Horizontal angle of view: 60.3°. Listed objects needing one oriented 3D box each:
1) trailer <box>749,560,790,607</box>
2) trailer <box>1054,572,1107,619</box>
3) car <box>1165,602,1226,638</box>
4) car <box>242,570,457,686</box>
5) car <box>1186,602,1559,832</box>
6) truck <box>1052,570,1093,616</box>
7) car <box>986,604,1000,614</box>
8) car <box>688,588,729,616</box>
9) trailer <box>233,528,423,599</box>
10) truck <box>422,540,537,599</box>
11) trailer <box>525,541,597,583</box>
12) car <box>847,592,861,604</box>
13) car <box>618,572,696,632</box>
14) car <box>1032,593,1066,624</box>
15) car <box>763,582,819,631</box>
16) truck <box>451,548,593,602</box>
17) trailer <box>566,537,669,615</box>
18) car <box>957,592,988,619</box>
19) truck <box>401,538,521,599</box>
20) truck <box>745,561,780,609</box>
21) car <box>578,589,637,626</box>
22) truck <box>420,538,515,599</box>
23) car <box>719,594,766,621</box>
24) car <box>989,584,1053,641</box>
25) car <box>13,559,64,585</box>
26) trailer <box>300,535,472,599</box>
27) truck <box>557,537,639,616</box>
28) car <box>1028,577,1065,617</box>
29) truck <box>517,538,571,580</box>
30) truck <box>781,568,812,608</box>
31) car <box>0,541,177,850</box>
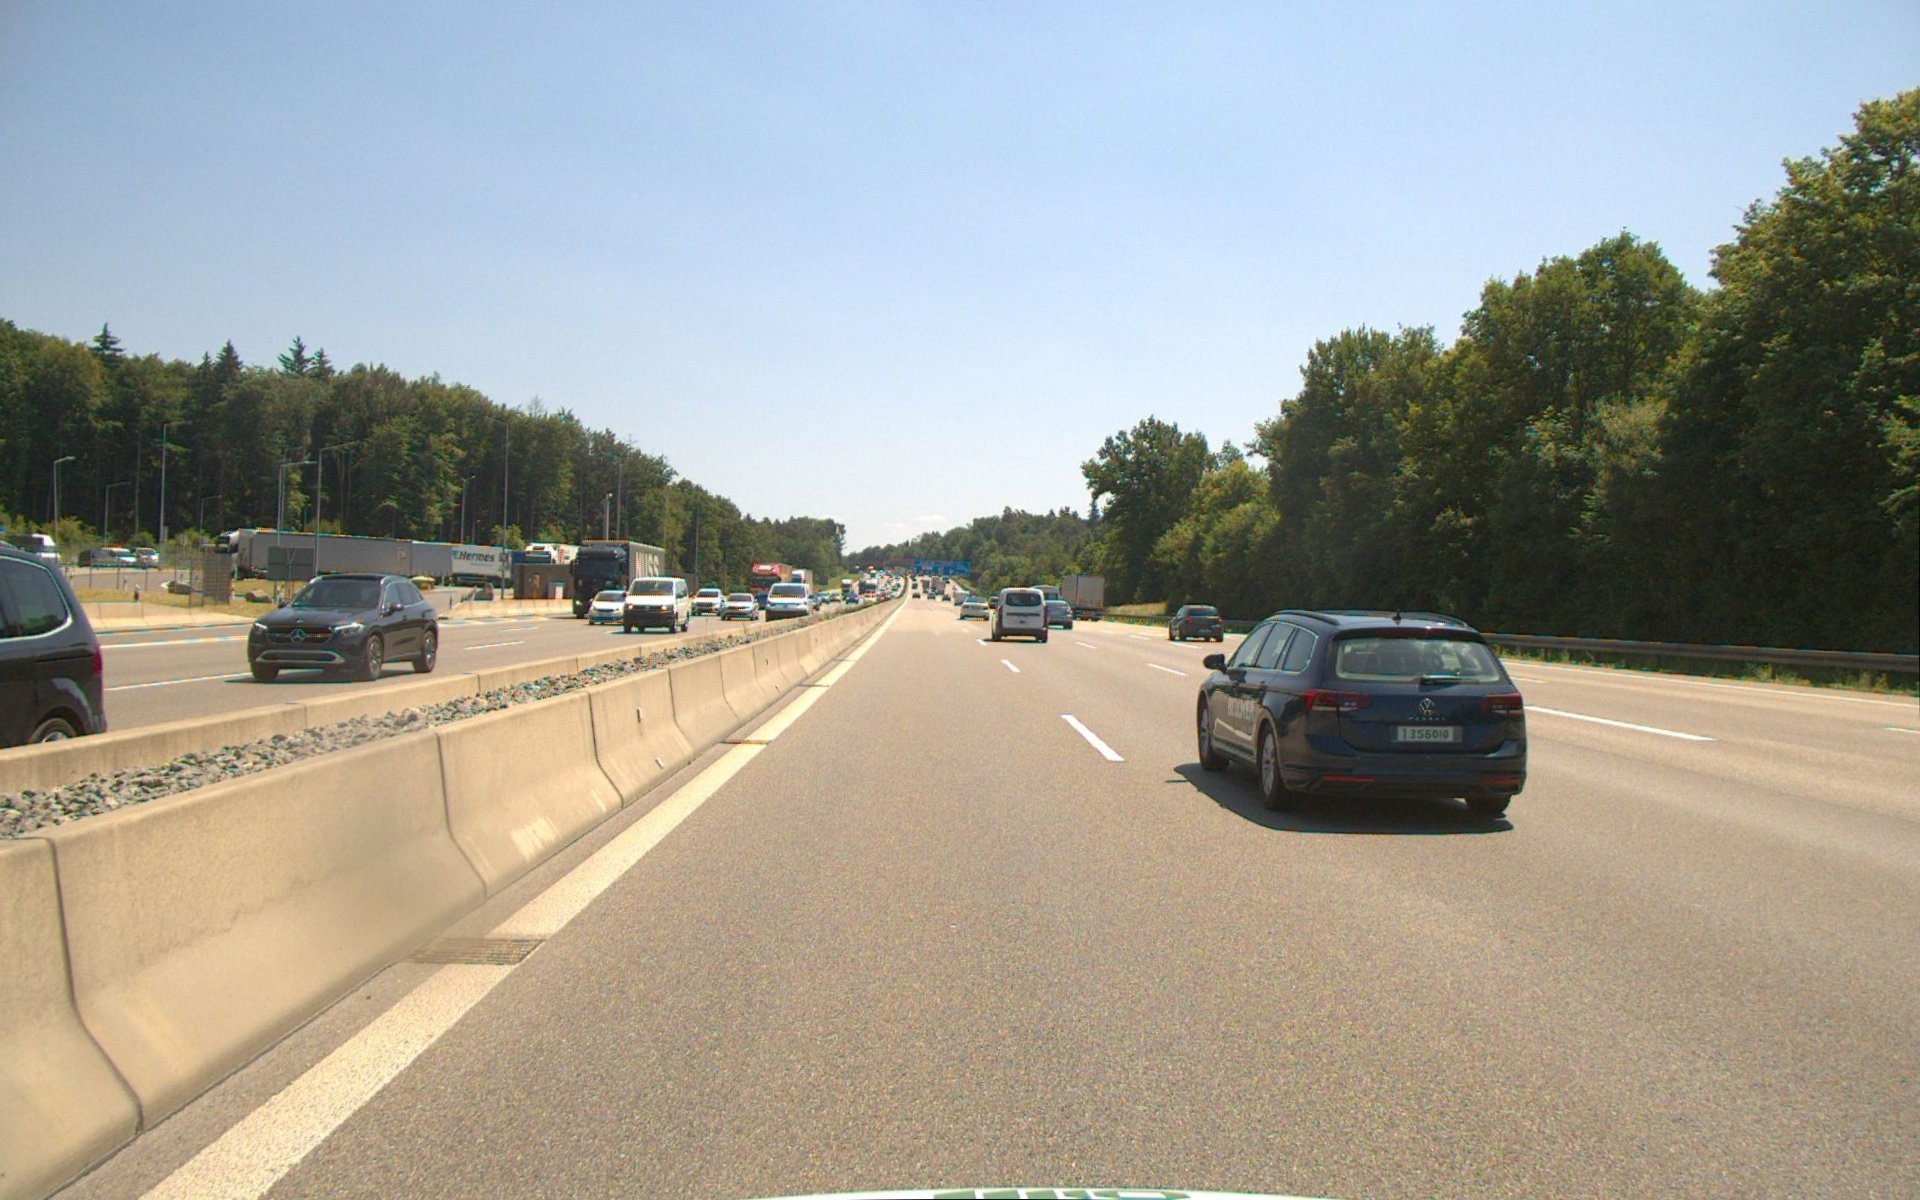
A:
[{"bbox_3d":[-17.707,-1.446,154.219,2.519,4.120,14.177,1,0,-2],"label":"trailer"},{"bbox_3d":[11.177,-0.521,155.256,3.222,3.998,13.885,4,1,-2],"label":"trailer"},{"bbox_3d":[9.316,0.784,65.827,1.637,1.296,4.288,3,0,-2],"label":"car"},{"bbox_3d":[-10.032,0.414,27.623,1.790,1.728,5.002,1,0,-1],"label":"car"},{"bbox_3d":[3.069,0.780,13.417,1.694,1.472,4.960,1,0,-1],"label":"car"},{"bbox_3d":[10.925,-0.699,161.542,3.189,4.177,5.986,3,1,-2],"label":"truck"},{"bbox_3d":[4.687,1.247,233.474,1.798,1.361,3.642,1,0,-2],"label":"car"},{"bbox_3d":[-15.757,0.114,103.850,1.953,1.699,4.611,1,0,-2],"label":"car"},{"bbox_3d":[-51.071,-2.851,134.293,3.075,5.161,14.474,2,0,42],"label":"trailer"},{"bbox_3d":[-49.789,-3.068,171.690,3.172,5.711,11.465,2,0,42],"label":"truck"},{"bbox_3d":[-33.821,-3.127,140.903,2.912,3.178,14.604,2,0,-2],"label":"trailer"},{"bbox_3d":[-16.322,-0.334,255.606,1.953,1.805,5.921,2,0,-2],"label":"car"},{"bbox_3d":[-11.005,0.076,60.445,1.953,2.049,5.128,1,0,-1],"label":"car"},{"bbox_3d":[4.620,0.442,86.041,1.473,1.527,3.648,1,0,-2],"label":"car"},{"bbox_3d":[-7.514,0.286,73.928,2.035,2.079,5.709,1,0,-2],"label":"car"},{"bbox_3d":[-50.425,-2.798,191.347,3.391,5.711,16.602,2,0,43],"label":"truck"},{"bbox_3d":[-19.406,-1.276,94.752,3.275,4.071,14.274,1,0,-2],"label":"trailer"},{"bbox_3d":[0.793,0.358,106.528,1.806,1.657,4.552,1,0,-1],"label":"car"},{"bbox_3d":[-50.037,-3.079,166.171,3.172,5.711,11.465,2,0,42],"label":"truck"},{"bbox_3d":[-17.531,-1.333,147.204,2.477,4.120,6.470,1,0,-2],"label":"truck"},{"bbox_3d":[-15.161,0.325,71.207,1.768,1.512,3.809,1,0,-1],"label":"car"},{"bbox_3d":[-48.473,-3.041,162.875,3.172,5.711,8.435,2,0,42],"label":"truck"},{"bbox_3d":[-11.842,0.417,90.261,1.953,1.401,5.009,1,0,-1],"label":"car"},{"bbox_3d":[2.066,0.421,57.501,1.822,1.857,4.610,1,0,-3],"label":"car"},{"bbox_3d":[-74.991,-2.290,134.608,3.915,2.049,1.995,1,0,32],"label":"car"},{"bbox_3d":[-50.306,-2.822,145.571,3.167,5.161,14.474,2,0,42],"label":"trailer"},{"bbox_3d":[-19.161,-1.233,87.923,3.221,3.999,5.537,1,0,-2],"label":"truck"},{"bbox_3d":[6.243,-0.259,119.793,2.100,2.698,5.708,3,1,-2],"label":"car"},{"bbox_3d":[-33.625,-3.271,133.909,2.868,3.178,6.200,2,0,-2],"label":"truck"},{"bbox_3d":[-17.288,-1.254,175.034,2.680,4.102,6.779,1,0,-2],"label":"truck"},{"bbox_3d":[-6.198,0.517,8.703,1.812,1.707,5.043,1,0,-1],"label":"car"}]
